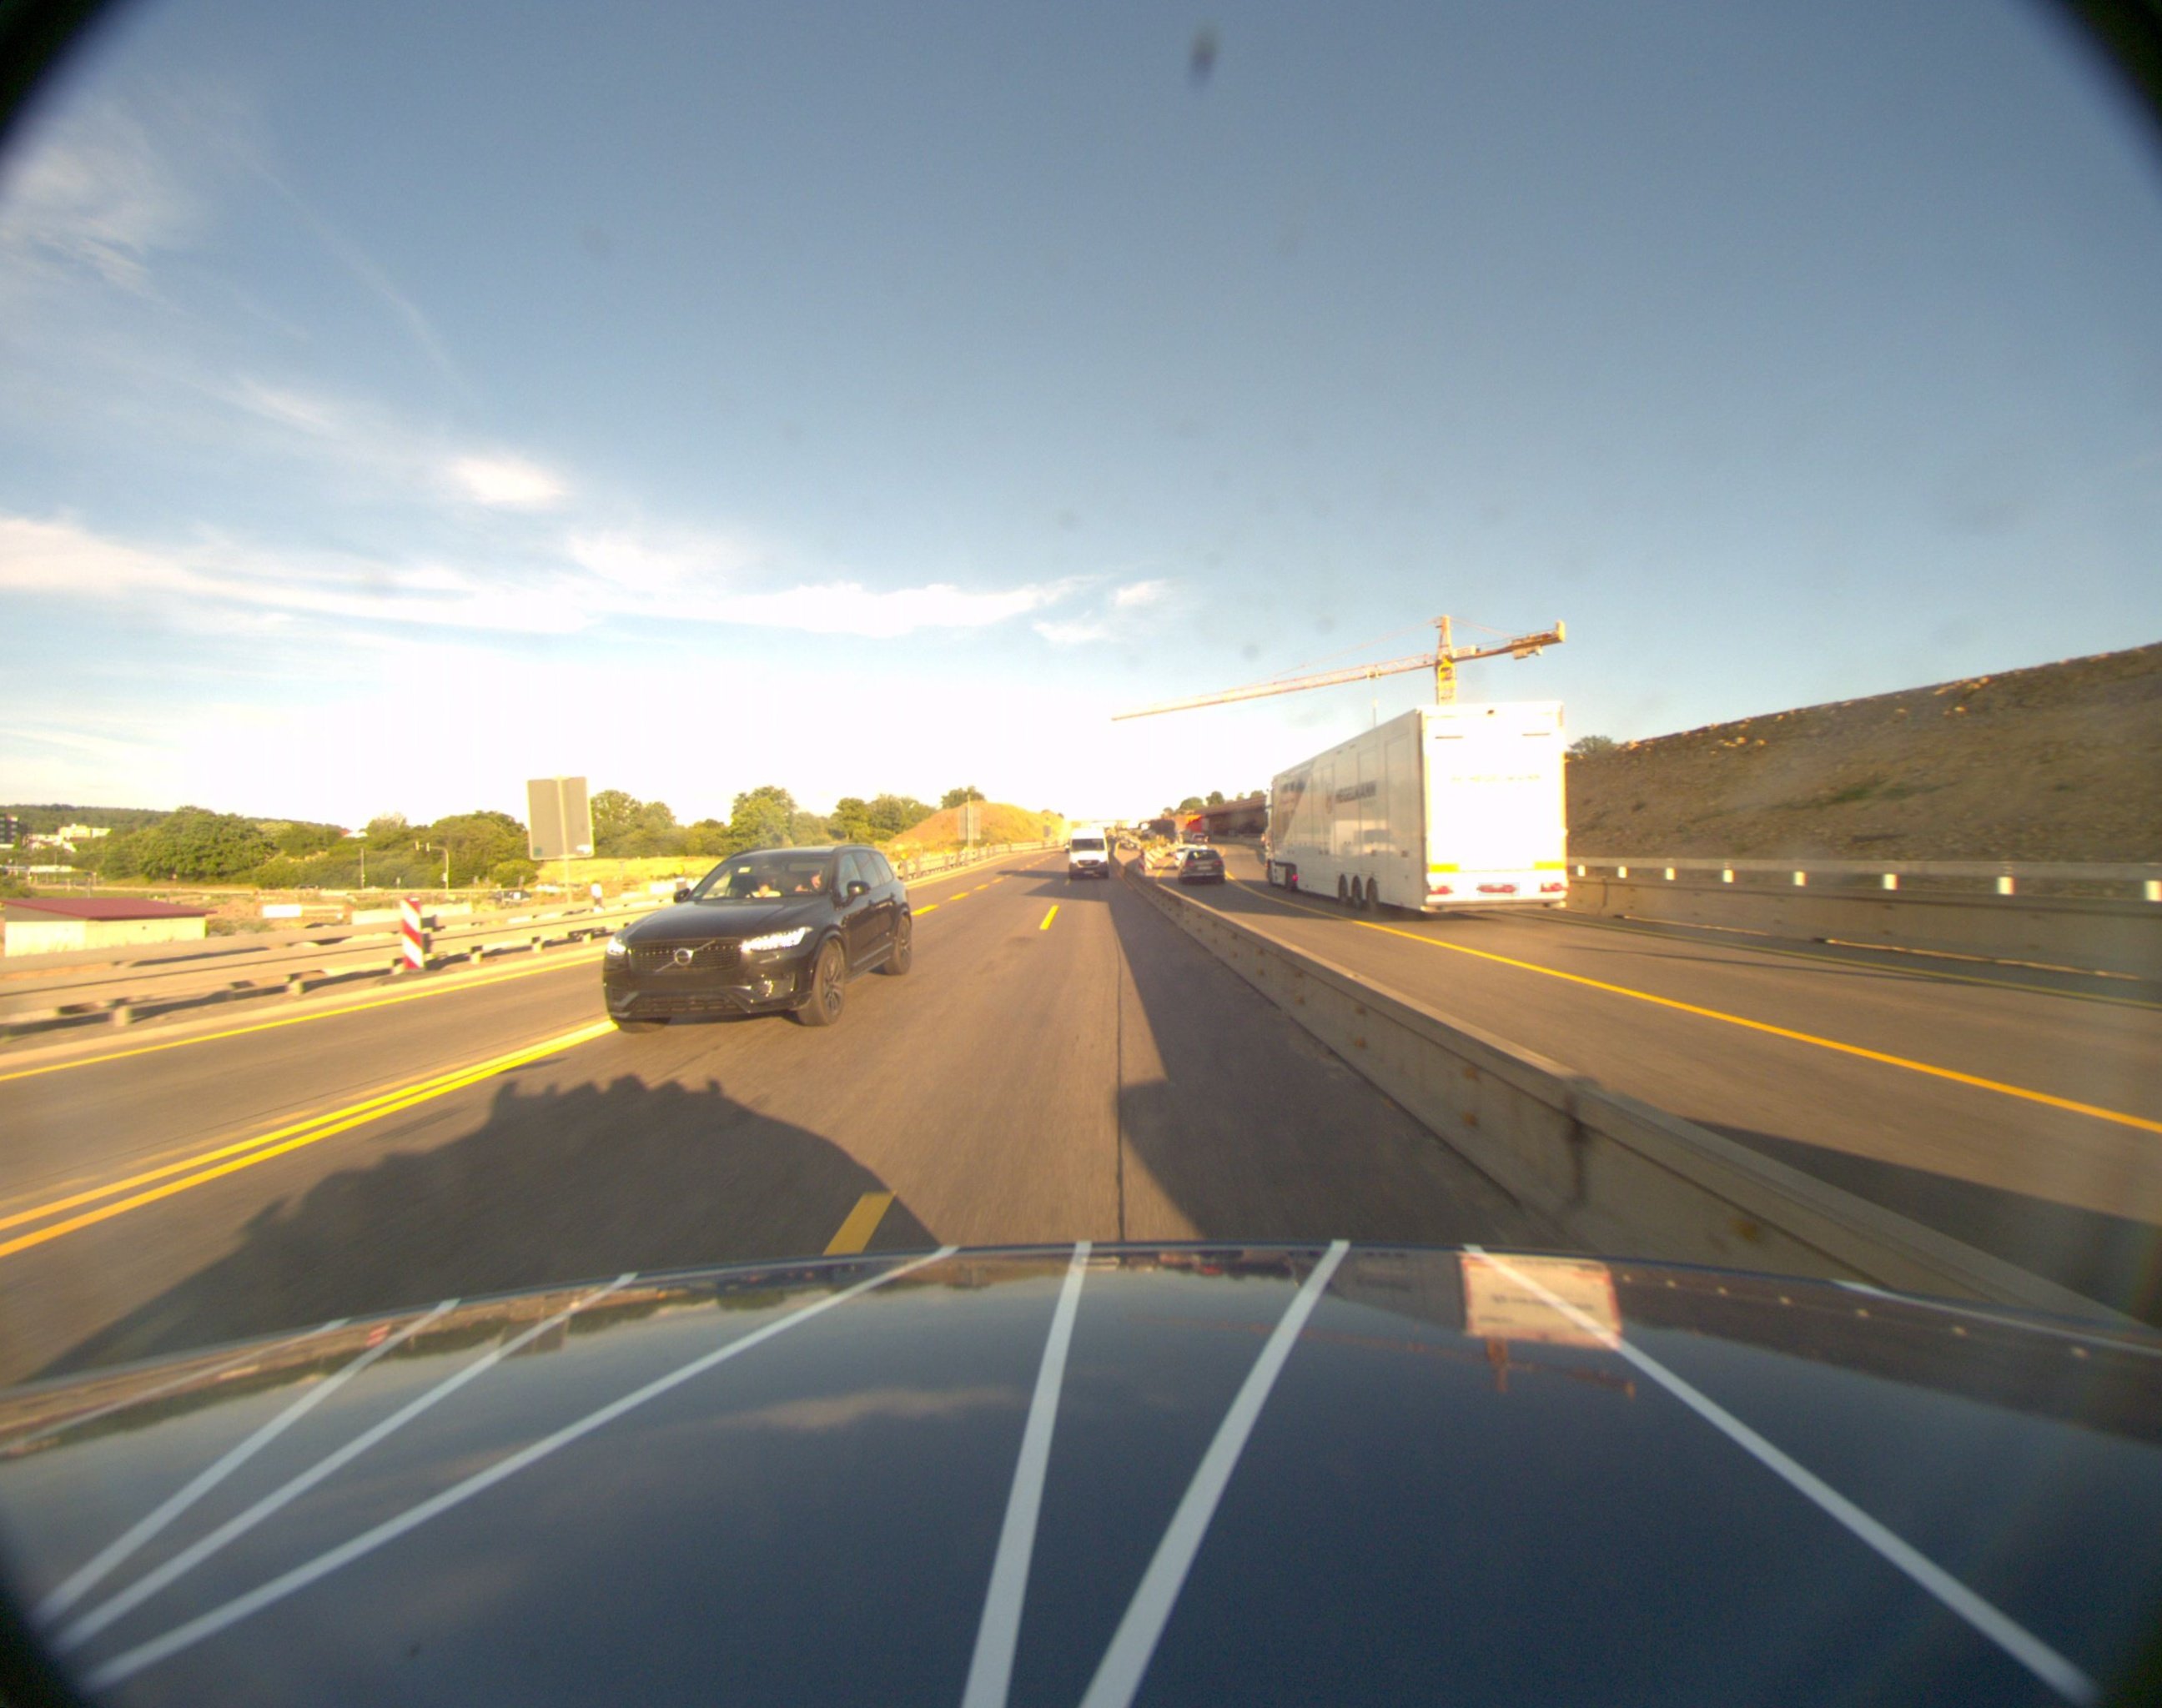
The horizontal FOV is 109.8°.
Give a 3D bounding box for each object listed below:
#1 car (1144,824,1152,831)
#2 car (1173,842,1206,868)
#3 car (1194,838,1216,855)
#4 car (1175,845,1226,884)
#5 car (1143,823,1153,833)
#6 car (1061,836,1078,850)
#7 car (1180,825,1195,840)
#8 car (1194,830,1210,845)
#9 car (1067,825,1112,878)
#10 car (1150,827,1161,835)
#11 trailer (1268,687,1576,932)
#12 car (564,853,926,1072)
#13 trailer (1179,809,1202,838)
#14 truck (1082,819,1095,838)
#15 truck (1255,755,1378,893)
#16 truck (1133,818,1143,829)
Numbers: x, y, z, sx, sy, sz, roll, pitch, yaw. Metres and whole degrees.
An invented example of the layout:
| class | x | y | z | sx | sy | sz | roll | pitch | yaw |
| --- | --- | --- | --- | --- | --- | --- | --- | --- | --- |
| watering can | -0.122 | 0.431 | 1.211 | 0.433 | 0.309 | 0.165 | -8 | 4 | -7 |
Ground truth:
| class | x | y | z | sx | sy | sz | roll | pitch | yaw |
| --- | --- | --- | --- | --- | --- | --- | --- | --- | --- |
| car | 16.105 | -6.351 | 183.939 | 1.665 | 1.383 | 3.999 | -6 | 2 | 3 |
| car | 6.683 | 0.019 | 47.031 | 1.792 | 1.480 | 4.220 | -1 | 1 | 5 |
| car | 10.829 | -0.685 | 66.711 | 1.792 | 1.350 | 4.636 | -3 | 2 | 8 |
| car | 5.015 | 0.411 | 32.355 | 1.854 | 1.474 | 4.512 | -1 | 1 | 6 |
| car | 19.430 | -7.532 | 220.203 | 2.334 | 2.951 | 6.159 | -2 | 3 | -1 |
| car | -1.310 | -1.275 | 87.074 | 1.791 | 1.478 | 3.998 | -2 | 3 | 0 |
| car | 15.779 | -3.169 | 112.006 | 1.997 | 2.002 | 5.258 | -3 | 2 | 10 |
| car | 14.376 | -2.029 | 90.360 | 1.792 | 1.610 | 4.875 | -3 | 2 | 8 |
| car | 0.495 | -0.155 | 40.067 | 2.109 | 2.518 | 5.219 | -2 | 1 | 1 |
| car | 16.281 | -5.139 | 166.212 | 1.734 | 1.592 | 4.659 | -2 | 3 | 1 |
| trailer | 7.728 | -0.904 | 20.336 | 2.537 | 4.189 | 13.934 | -3 | 1 | 3 |
| car | -3.271 | 0.894 | 8.722 | 1.902 | 1.703 | 4.887 | -2 | 1 | 0 |
| trailer | 18.372 | -5.078 | 127.695 | 2.589 | 4.447 | 14.134 | -3 | 2 | 4 |
| truck | 1.528 | -5.425 | 163.298 | 2.264 | 3.706 | 6.570 | -5 | 1 | -1 |
| truck | 8.096 | -0.999 | 26.913 | 2.559 | 4.197 | 6.050 | -3 | 1 | 3 |
| truck | 19.833 | -10.620 | 266.201 | 2.796 | 3.705 | 7.159 | -2 | 3 | 0 |
